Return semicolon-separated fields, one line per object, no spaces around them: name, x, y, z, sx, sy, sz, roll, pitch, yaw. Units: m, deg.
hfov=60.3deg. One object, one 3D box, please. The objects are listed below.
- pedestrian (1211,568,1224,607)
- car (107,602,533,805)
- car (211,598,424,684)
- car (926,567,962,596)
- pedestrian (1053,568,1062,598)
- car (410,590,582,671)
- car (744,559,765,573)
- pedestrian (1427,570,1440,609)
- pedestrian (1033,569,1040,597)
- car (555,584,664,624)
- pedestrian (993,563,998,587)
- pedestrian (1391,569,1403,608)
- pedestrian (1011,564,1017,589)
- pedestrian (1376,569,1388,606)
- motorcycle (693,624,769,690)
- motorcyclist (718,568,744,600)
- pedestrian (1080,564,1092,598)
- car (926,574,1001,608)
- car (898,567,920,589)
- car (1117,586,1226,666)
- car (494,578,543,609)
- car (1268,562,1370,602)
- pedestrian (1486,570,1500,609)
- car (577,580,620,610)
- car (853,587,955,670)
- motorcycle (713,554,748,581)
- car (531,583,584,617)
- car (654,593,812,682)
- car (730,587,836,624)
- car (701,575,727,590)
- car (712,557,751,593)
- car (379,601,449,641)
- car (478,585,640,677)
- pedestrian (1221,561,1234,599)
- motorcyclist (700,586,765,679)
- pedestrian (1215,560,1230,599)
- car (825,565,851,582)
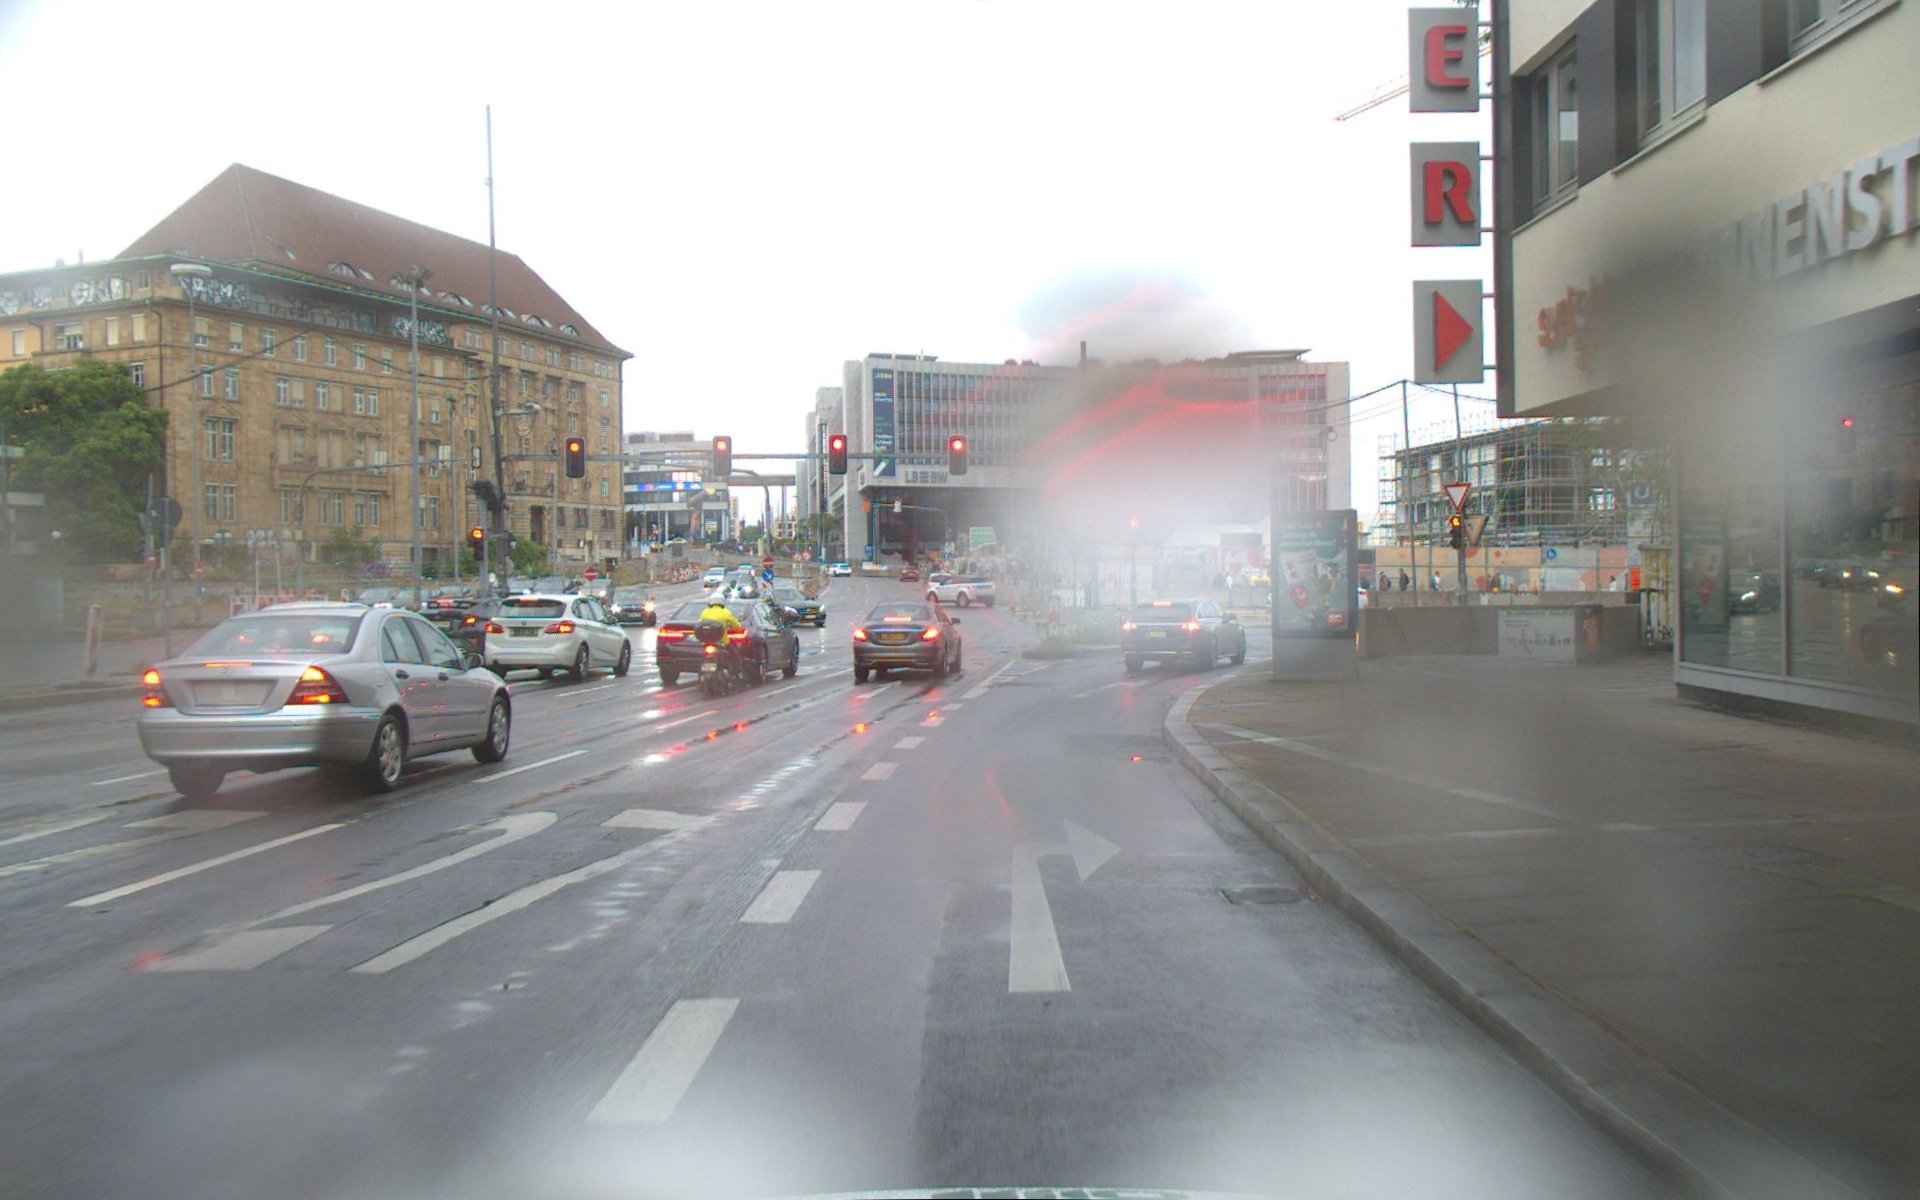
pedestrian;12.984;-0.626;83.376;0.566;1.931;0.360;0;-1;43
car;-5.127;0.754;13.976;1.696;1.428;4.384;0;-1;3
car;-11.185;0.685;29.112;1.745;1.397;3.996;0;-1;8
car;-1.009;-1.147;102.761;1.696;1.668;3.427;0;3;-10
pedestrian;6.262;-1.094;106.224;0.355;1.931;0.574;0;-1;-14
car;-9.867;0.628;35.505;1.745;1.628;4.075;0;-1;14
car;-21.087;-3.486;169.900;1.731;1.282;3.999;0;-1;-1
pedestrian;23.711;-0.541;82.867;0.563;1.931;0.362;0;-1;0
pedestrian;5.293;-1.161;114.063;0.354;1.931;0.575;0;-1;-10
car;-13.844;0.157;65.334;4.028;1.533;1.993;0;-1;34
pedestrian;3.015;-2.102;139.056;0.354;1.931;0.576;0;-1;-6
pedestrian;22.175;-0.581;83.906;0.562;1.931;0.362;0;-1;4
pedestrian;4.122;-1.794;125.841;0.354;1.931;0.576;0;-1;-6
pedestrian;21.669;-0.638;84.977;0.562;1.931;0.362;0;-1;4
motorcycle;-3.750;0.922;27.282;0.922;1.006;2.294;0;0;0
motorcyclist;-10.089;-0.712;72.786;0.837;1.382;0.939;1;-1;-29
pedestrian;7.119;-1.072;93.558;0.358;1.931;0.569;1;-1;-35
car;0.145;-0.431;84.949;1.977;1.669;3.950;1;-1;-35
car;-4.983;-2.111;162.315;1.954;2.049;3.996;0;-1;-4
car;4.518;0.530;34.839;1.851;1.571;3.996;0;-1;14
car;-23.018;-0.320;86.268;1.664;1.601;3.997;0;-1;-3
car;16.566;-0.807;76.503;4.312;1.797;2.000;0;-1;2
pedestrian;26.547;-0.522;82.353;0.563;1.931;0.362;0;-1;0
car;-19.657;-0.248;90.111;1.664;1.601;3.997;0;-1;-3
car;-1.037;0.509;32.719;1.746;1.427;4.488;0;1;1
motorcycle;-10.098;-1.442;72.804;0.839;1.128;2.122;1;-1;-29
car;-19.500;0.011;80.275;1.766;1.601;4.072;0;-1;-3
car;-4.159;0.667;31.176;1.847;1.541;5.005;0;-1;5
car;-6.825;0.221;63.657;1.986;1.368;4.044;1;-1;-45
car;-21.574;-1.528;145.104;1.731;1.282;4.193;0;-1;-1
car;-12.509;-1.362;90.839;1.955;1.829;5.095;0;-1;-6
car;-22.611;0.835;68.661;1.663;1.545;3.873;-2;0;-1
car;-7.583;0.566;31.639;1.696;1.644;4.003;0;-1;7
pedestrian;13.591;-1.015;83.995;0.359;1.931;0.567;1;-1;-42
motorcyclist;-3.746;0.525;27.315;0.922;1.501;1.100;0;-1;0
pedestrian;13.276;-1.033;83.711;0.359;1.931;0.567;-2;0;-42
car;-14.260;-3.083;193.784;1.965;1.848;3.974;1;-1;-21
